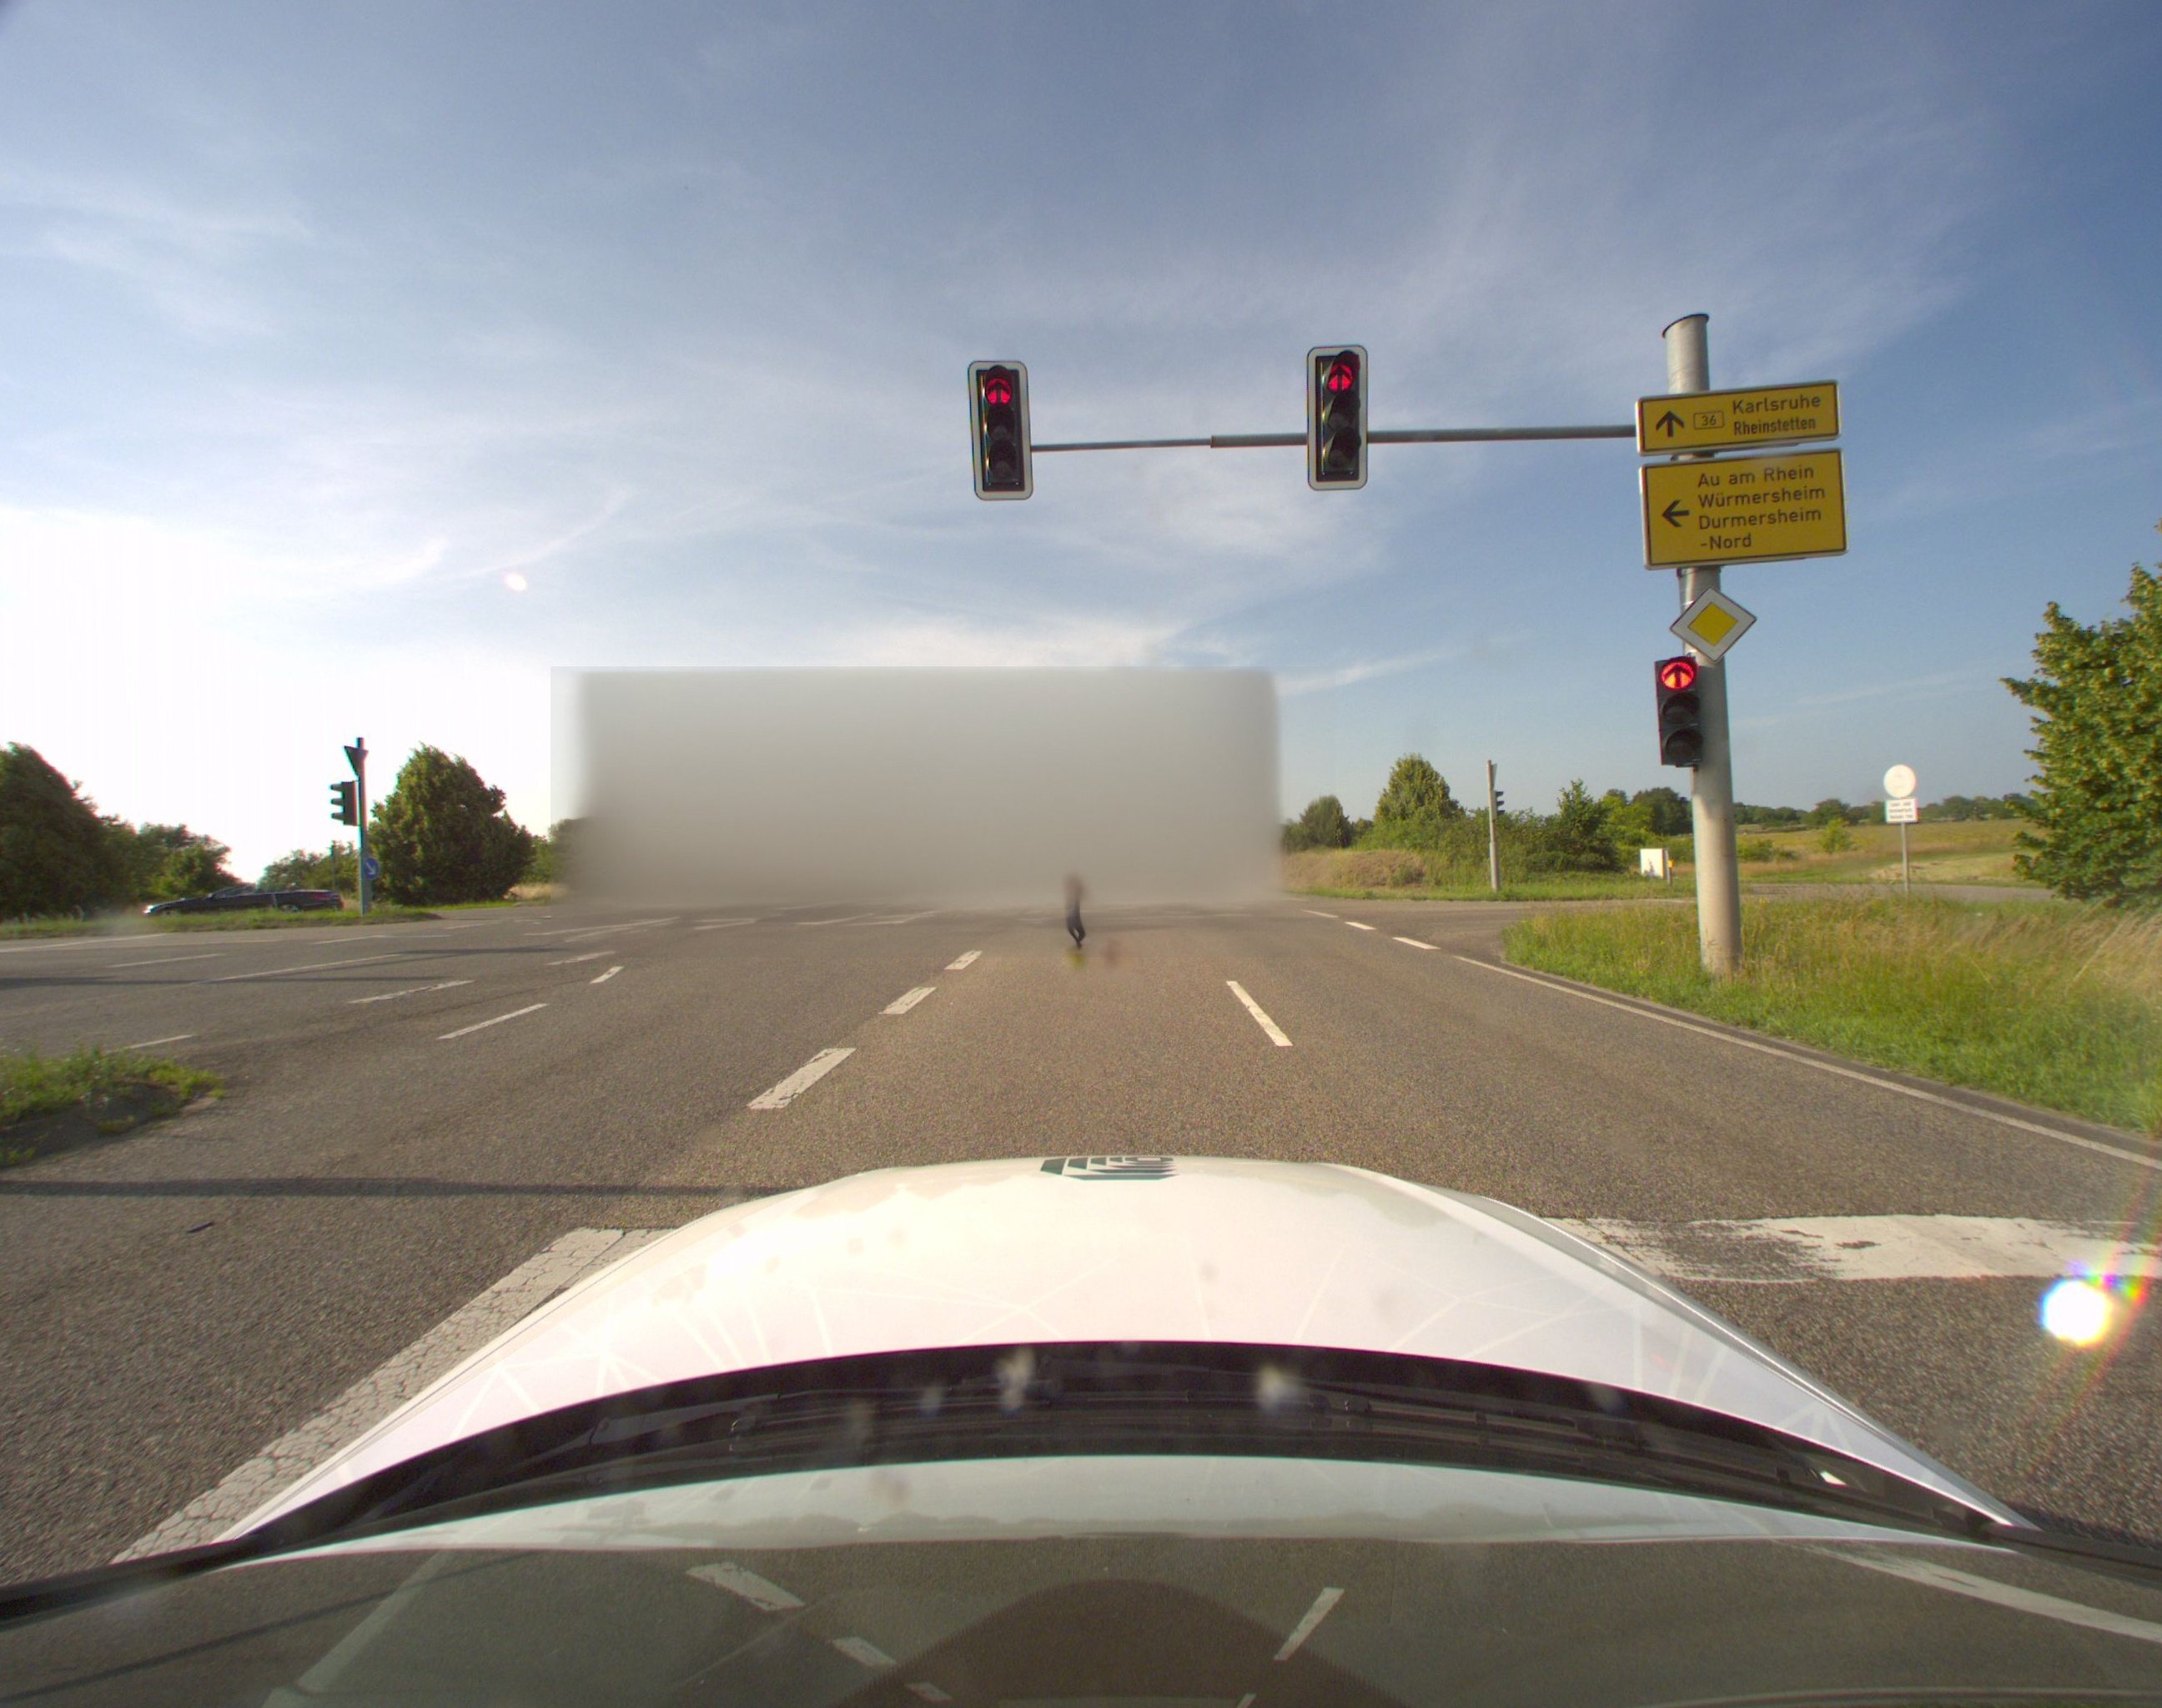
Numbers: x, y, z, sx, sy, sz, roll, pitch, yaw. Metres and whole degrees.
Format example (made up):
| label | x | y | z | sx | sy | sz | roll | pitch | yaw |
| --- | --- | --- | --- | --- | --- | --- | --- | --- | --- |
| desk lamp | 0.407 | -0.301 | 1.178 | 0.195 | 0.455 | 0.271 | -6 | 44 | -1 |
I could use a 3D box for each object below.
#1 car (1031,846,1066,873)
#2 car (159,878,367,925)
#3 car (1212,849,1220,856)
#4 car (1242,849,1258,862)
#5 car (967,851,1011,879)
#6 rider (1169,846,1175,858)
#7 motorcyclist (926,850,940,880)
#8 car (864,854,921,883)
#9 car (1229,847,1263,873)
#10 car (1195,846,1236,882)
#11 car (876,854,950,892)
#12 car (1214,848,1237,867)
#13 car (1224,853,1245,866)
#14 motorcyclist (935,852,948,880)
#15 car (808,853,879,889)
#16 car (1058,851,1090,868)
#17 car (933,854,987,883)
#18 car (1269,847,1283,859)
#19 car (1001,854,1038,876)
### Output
| label | x | y | z | sx | sy | sz | roll | pitch | yaw |
| --- | --- | --- | --- | --- | --- | --- | --- | --- | --- |
| car | -2.569 | 0.434 | 65.190 | 1.913 | 2.078 | 4.255 | -2 | 0 | 10 |
| car | -27.812 | 1.566 | 27.918 | 4.675 | 1.282 | 1.711 | -2 | 0 | -28 |
| car | 26.689 | -0.310 | 161.342 | 1.396 | 1.402 | 3.433 | -2 | 0 | 11 |
| car | 23.047 | 0.238 | 110.924 | 1.881 | 1.565 | 4.295 | -1 | -1 | 15 |
| car | -5.583 | 0.644 | 49.798 | 1.777 | 1.568 | 4.058 | -2 | 0 | 6 |
| rider | 15.385 | -0.312 | 137.240 | 0.861 | 2.013 | 0.775 | -2 | 0 | 17 |
| motorcyclist | -9.014 | 0.663 | 49.646 | 0.660 | 1.747 | 0.605 | -2 | 0 | -1 |
| car | -10.300 | 0.769 | 44.784 | 1.777 | 1.433 | 4.058 | -2 | 0 | 6 |
| car | 10.331 | 0.368 | 50.837 | 1.796 | 1.565 | 4.549 | -1 | 0 | 15 |
| car | 6.409 | 0.483 | 38.640 | 1.773 | 1.605 | 4.207 | -1 | -1 | 10 |
| car | -7.283 | 0.785 | 35.817 | 1.777 | 1.488 | 4.659 | -2 | 0 | 6 |
| car | 12.418 | 0.296 | 69.862 | 1.760 | 1.492 | 3.999 | -1 | 0 | 13 |
| car | 16.789 | 0.619 | 88.783 | 1.900 | 1.416 | 3.811 | -1 | -1 | 15 |
| motorcyclist | -9.040 | 0.765 | 52.748 | 0.660 | 1.817 | 0.605 | -2 | 0 | -1 |
| car | -10.871 | 0.747 | 37.542 | 1.711 | 1.488 | 3.812 | -2 | 0 | 7 |
| car | -0.561 | 0.481 | 73.442 | 1.772 | 1.385 | 4.068 | -2 | 0 | 16 |
| car | -6.406 | 0.727 | 43.535 | 1.777 | 1.433 | 4.316 | -2 | 0 | 6 |
| car | 30.733 | -0.172 | 128.504 | 1.894 | 1.800 | 4.296 | -1 | -1 | 16 |
| car | -4.149 | 0.740 | 55.855 | 1.777 | 1.385 | 4.058 | -2 | 0 | 6 |
